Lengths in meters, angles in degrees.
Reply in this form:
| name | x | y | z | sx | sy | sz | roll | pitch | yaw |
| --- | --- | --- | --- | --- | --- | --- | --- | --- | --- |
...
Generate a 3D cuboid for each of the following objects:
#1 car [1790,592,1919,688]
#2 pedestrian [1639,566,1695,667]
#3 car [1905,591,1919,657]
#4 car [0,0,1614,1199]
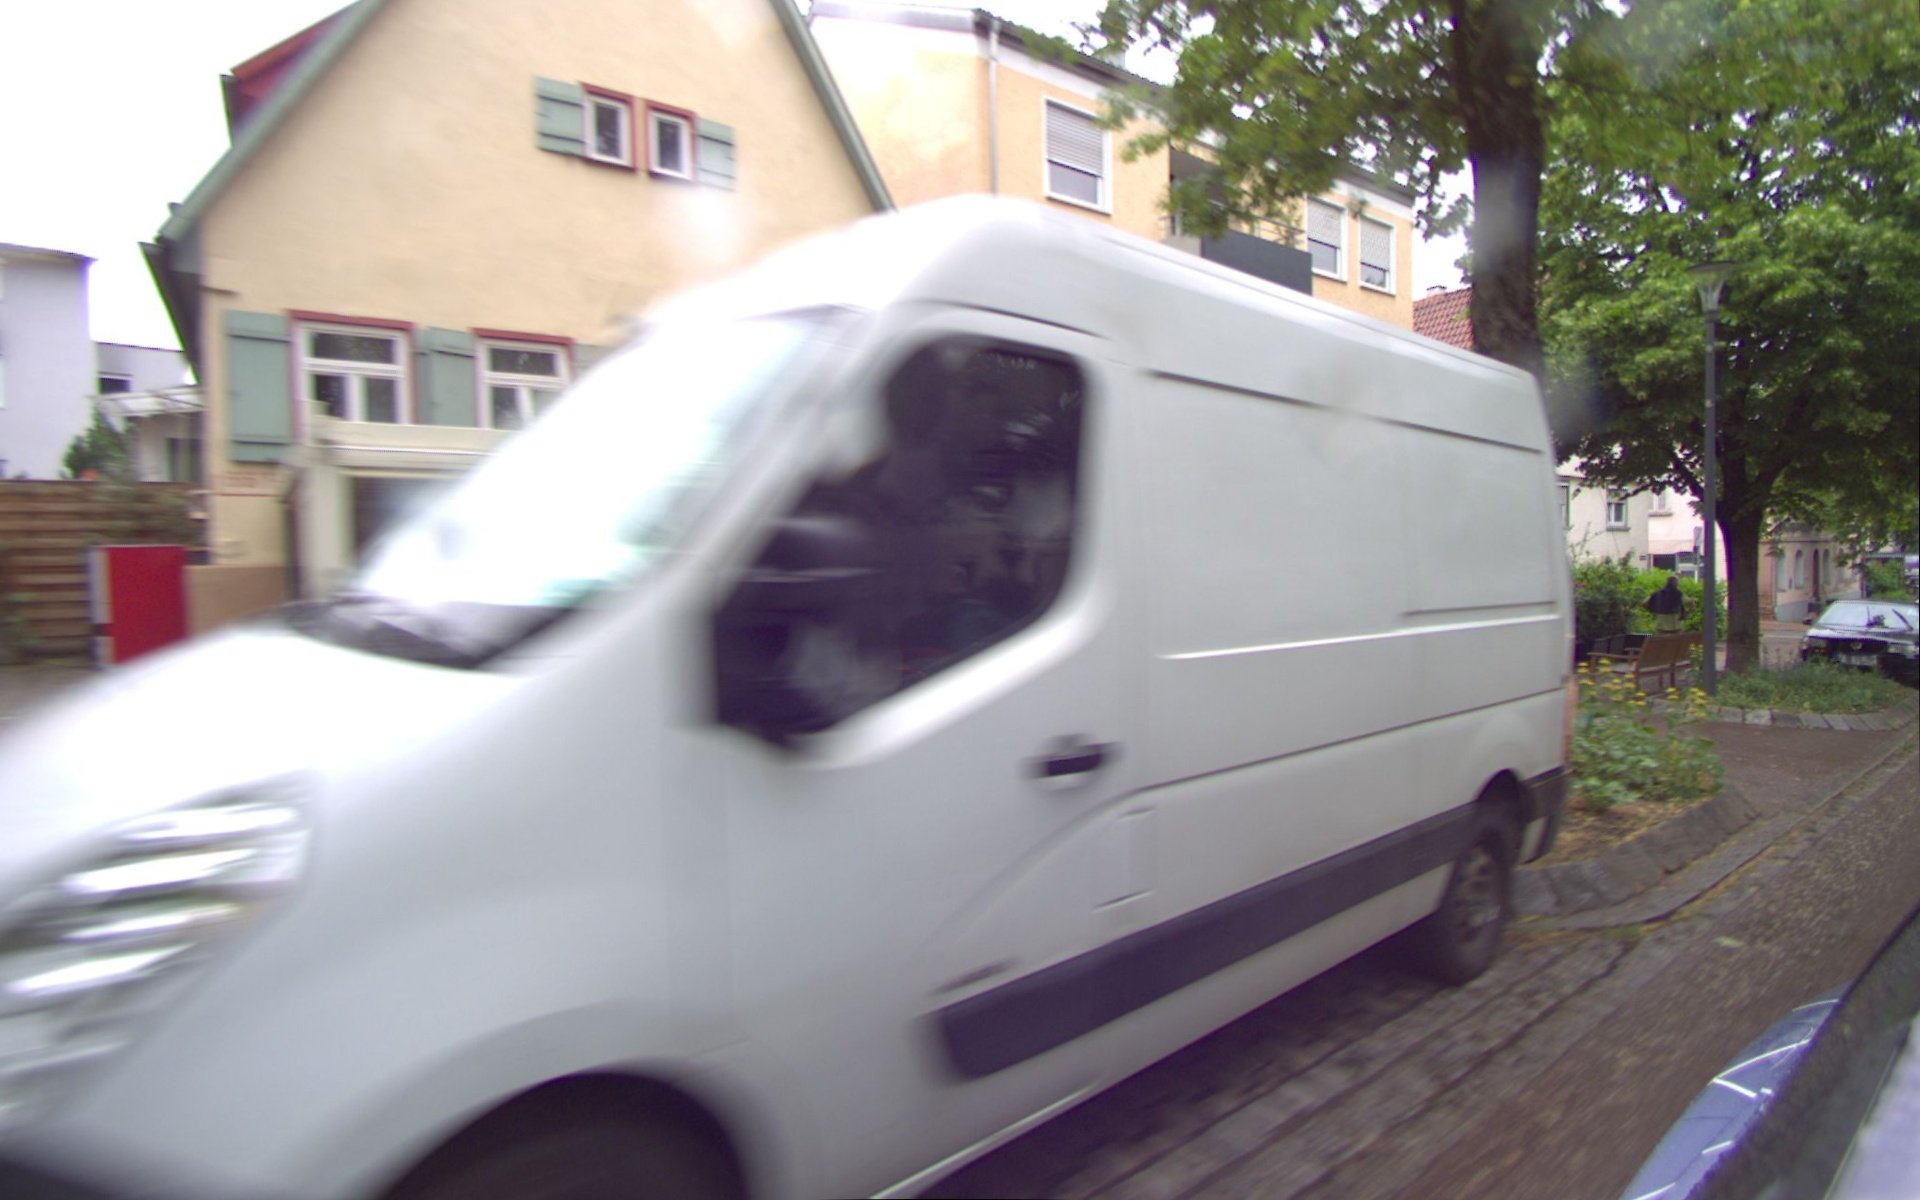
| name | x | y | z | sx | sy | sz | roll | pitch | yaw |
| --- | --- | --- | --- | --- | --- | --- | --- | --- | --- |
| car | 15.351 | 0.592 | 16.831 | 3.717 | 1.429 | 1.811 | 0 | 1 | -41 |
| pedestrian | 12.498 | 0.275 | 17.904 | 0.763 | 1.753 | 0.487 | 1 | 0 | 32 |
| car | 22.501 | 0.533 | 22.609 | 3.729 | 1.417 | 1.683 | -1 | 2 | -42 |
| car | 0.137 | 0.180 | 3.473 | 5.340 | 2.491 | 2.145 | 0 | 1 | -41 |
